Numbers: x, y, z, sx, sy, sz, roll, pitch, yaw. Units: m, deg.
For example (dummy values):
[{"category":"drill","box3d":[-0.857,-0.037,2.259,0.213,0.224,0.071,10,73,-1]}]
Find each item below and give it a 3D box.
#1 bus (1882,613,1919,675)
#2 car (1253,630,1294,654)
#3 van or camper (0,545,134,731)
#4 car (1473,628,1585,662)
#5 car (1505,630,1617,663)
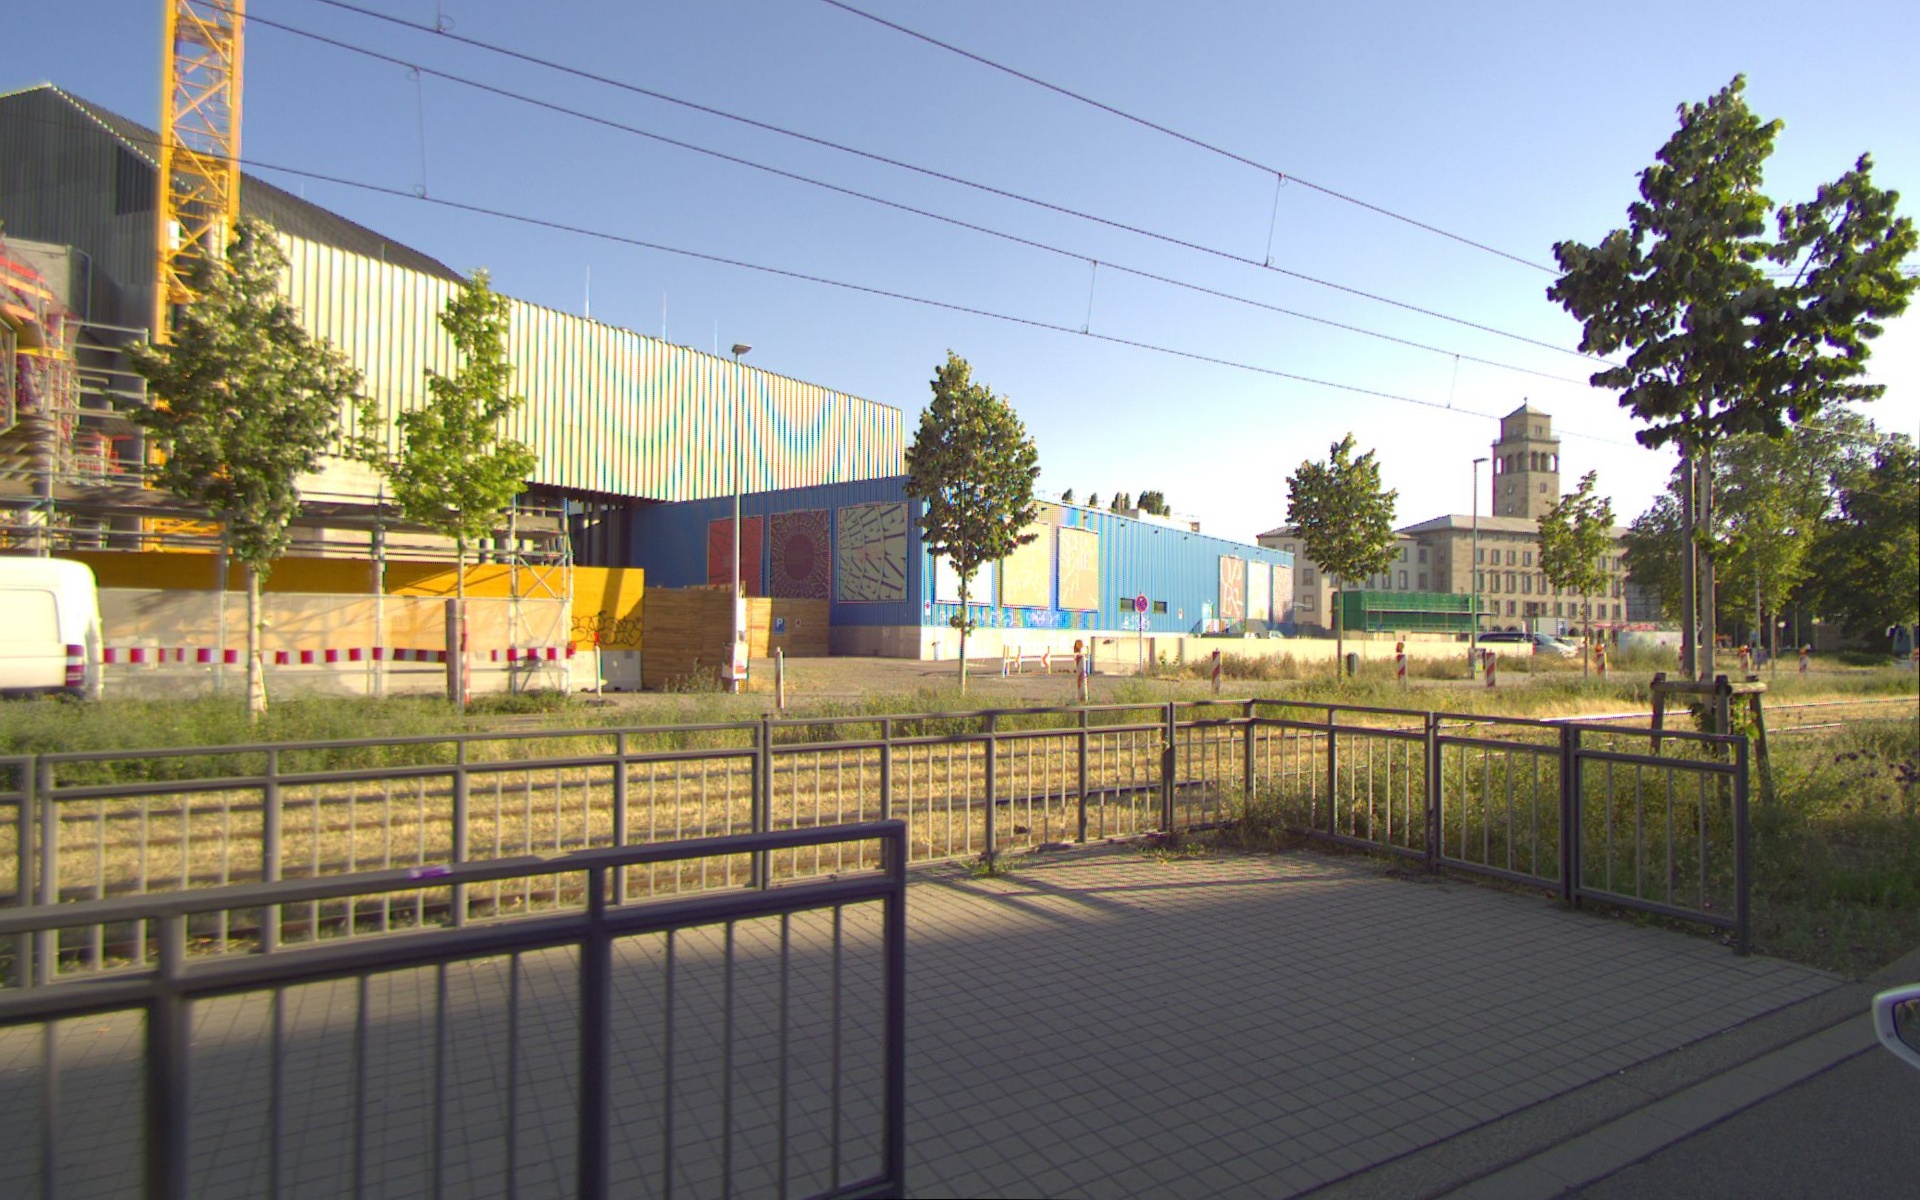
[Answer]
[{"category":"bus","box3d":[61.573,2.769,61.802,12.531,3.642,2.790,2,-2,-26]},{"category":"car","box3d":[22.620,3.031,72.356,1.390,1.657,4.206,0,-2,39]},{"category":"van or camper","box3d":[-15.747,0.518,13.310,7.125,2.542,2.209,1,-4,-34]},{"category":"car","box3d":[31.815,2.499,56.326,2.097,1.739,5.208,2,-2,-27]},{"category":"car","box3d":[34.290,2.638,57.502,2.097,1.739,5.208,2,-2,-27]}]
